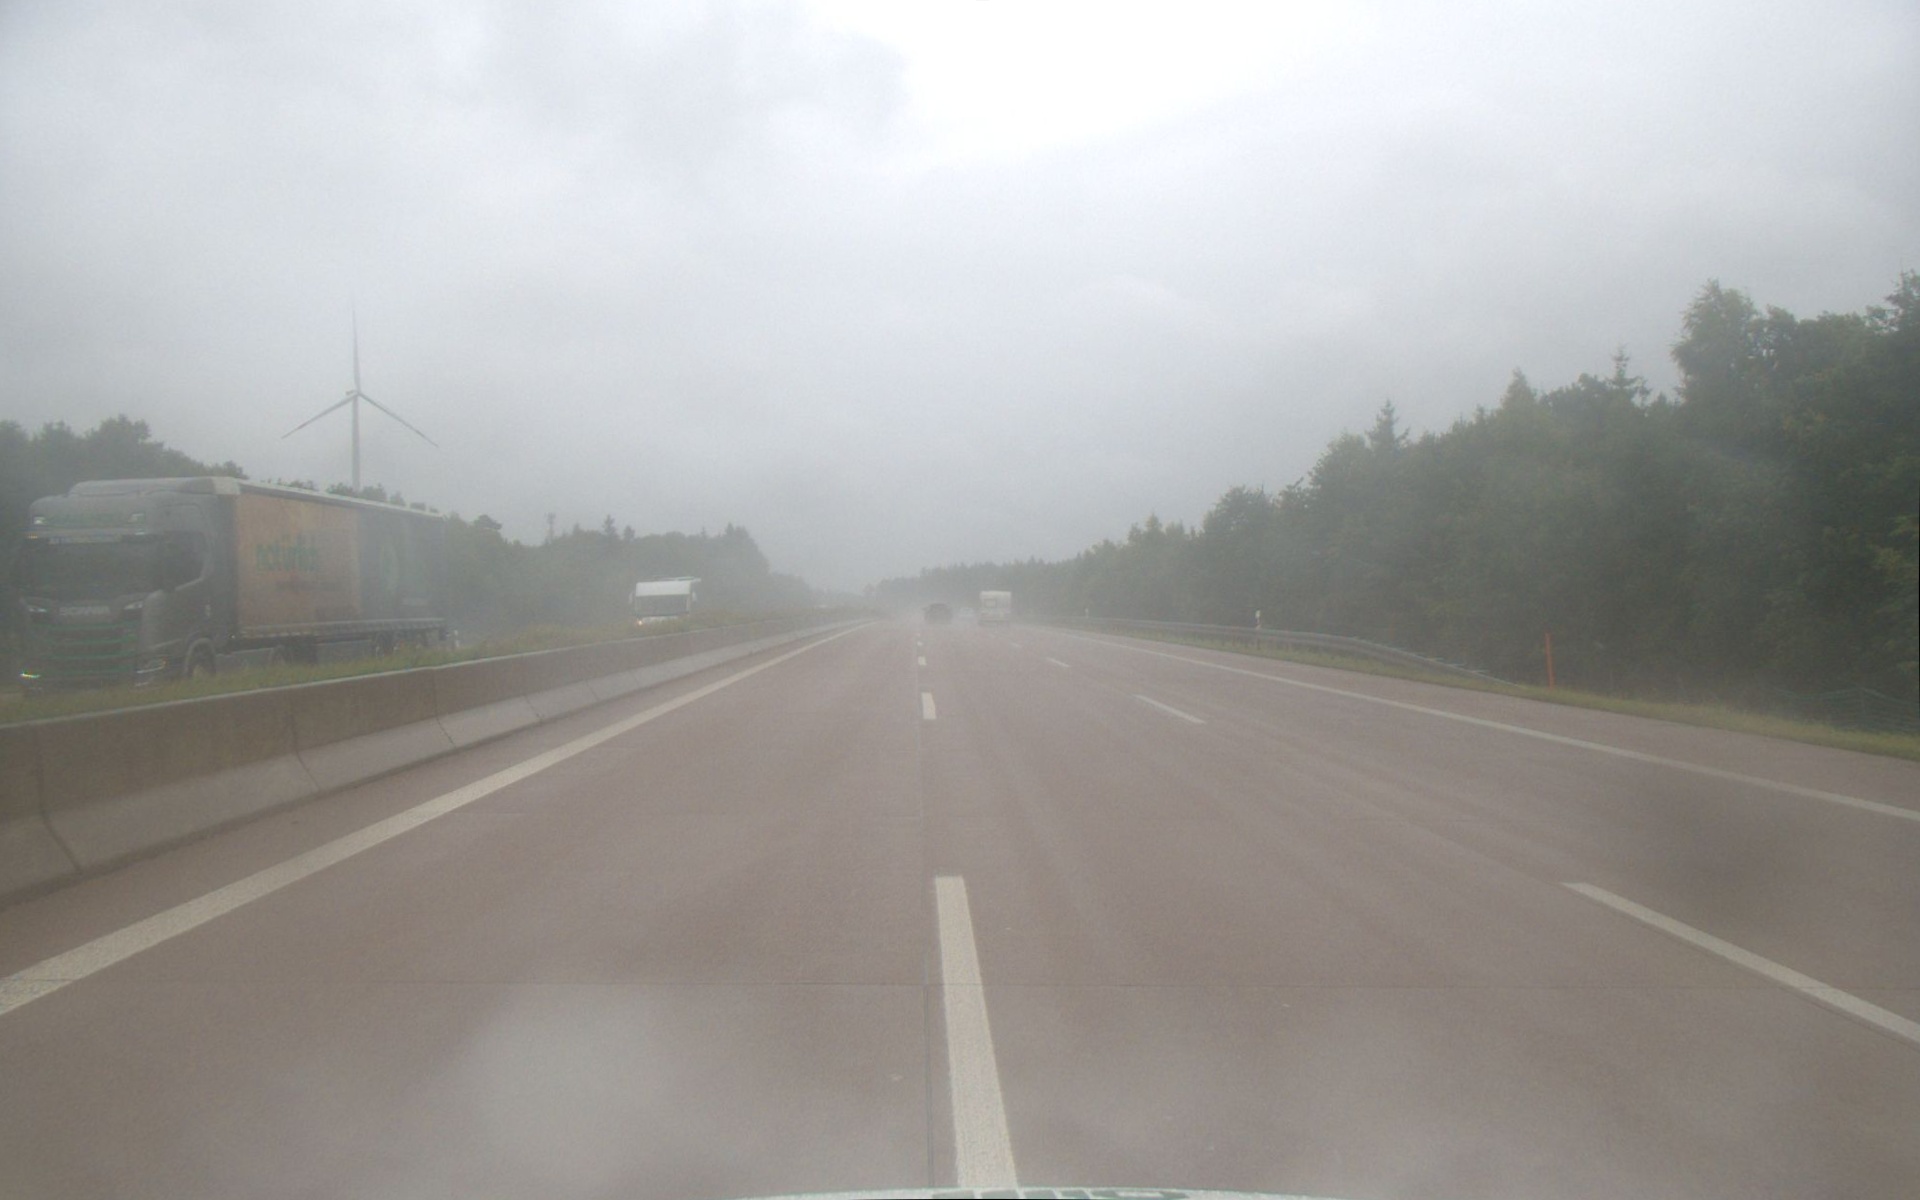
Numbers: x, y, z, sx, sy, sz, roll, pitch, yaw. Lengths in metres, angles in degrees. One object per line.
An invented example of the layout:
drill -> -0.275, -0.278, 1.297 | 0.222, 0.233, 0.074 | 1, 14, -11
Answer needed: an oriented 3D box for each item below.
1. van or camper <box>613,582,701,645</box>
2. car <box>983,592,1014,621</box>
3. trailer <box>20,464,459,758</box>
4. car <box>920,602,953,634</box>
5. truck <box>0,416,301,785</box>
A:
van or camper -> -12.667, 0.534, 69.612 | 2.735, 2.447, 6.486 | -2, 0, -3
car -> 2.787, 0.463, 121.690 | 2.016, 2.034, 4.098 | 3, 0, -1
trailer -> -14.876, 0.216, 36.342 | 3.911, 5.148, 14.229 | 1, 0, -3
car -> -1.618, 1.215, 113.396 | 2.130, 2.016, 4.129 | 3, 0, -1
truck -> -14.538, -0.010, 27.339 | 3.846, 5.102, 8.949 | 1, 0, -2
